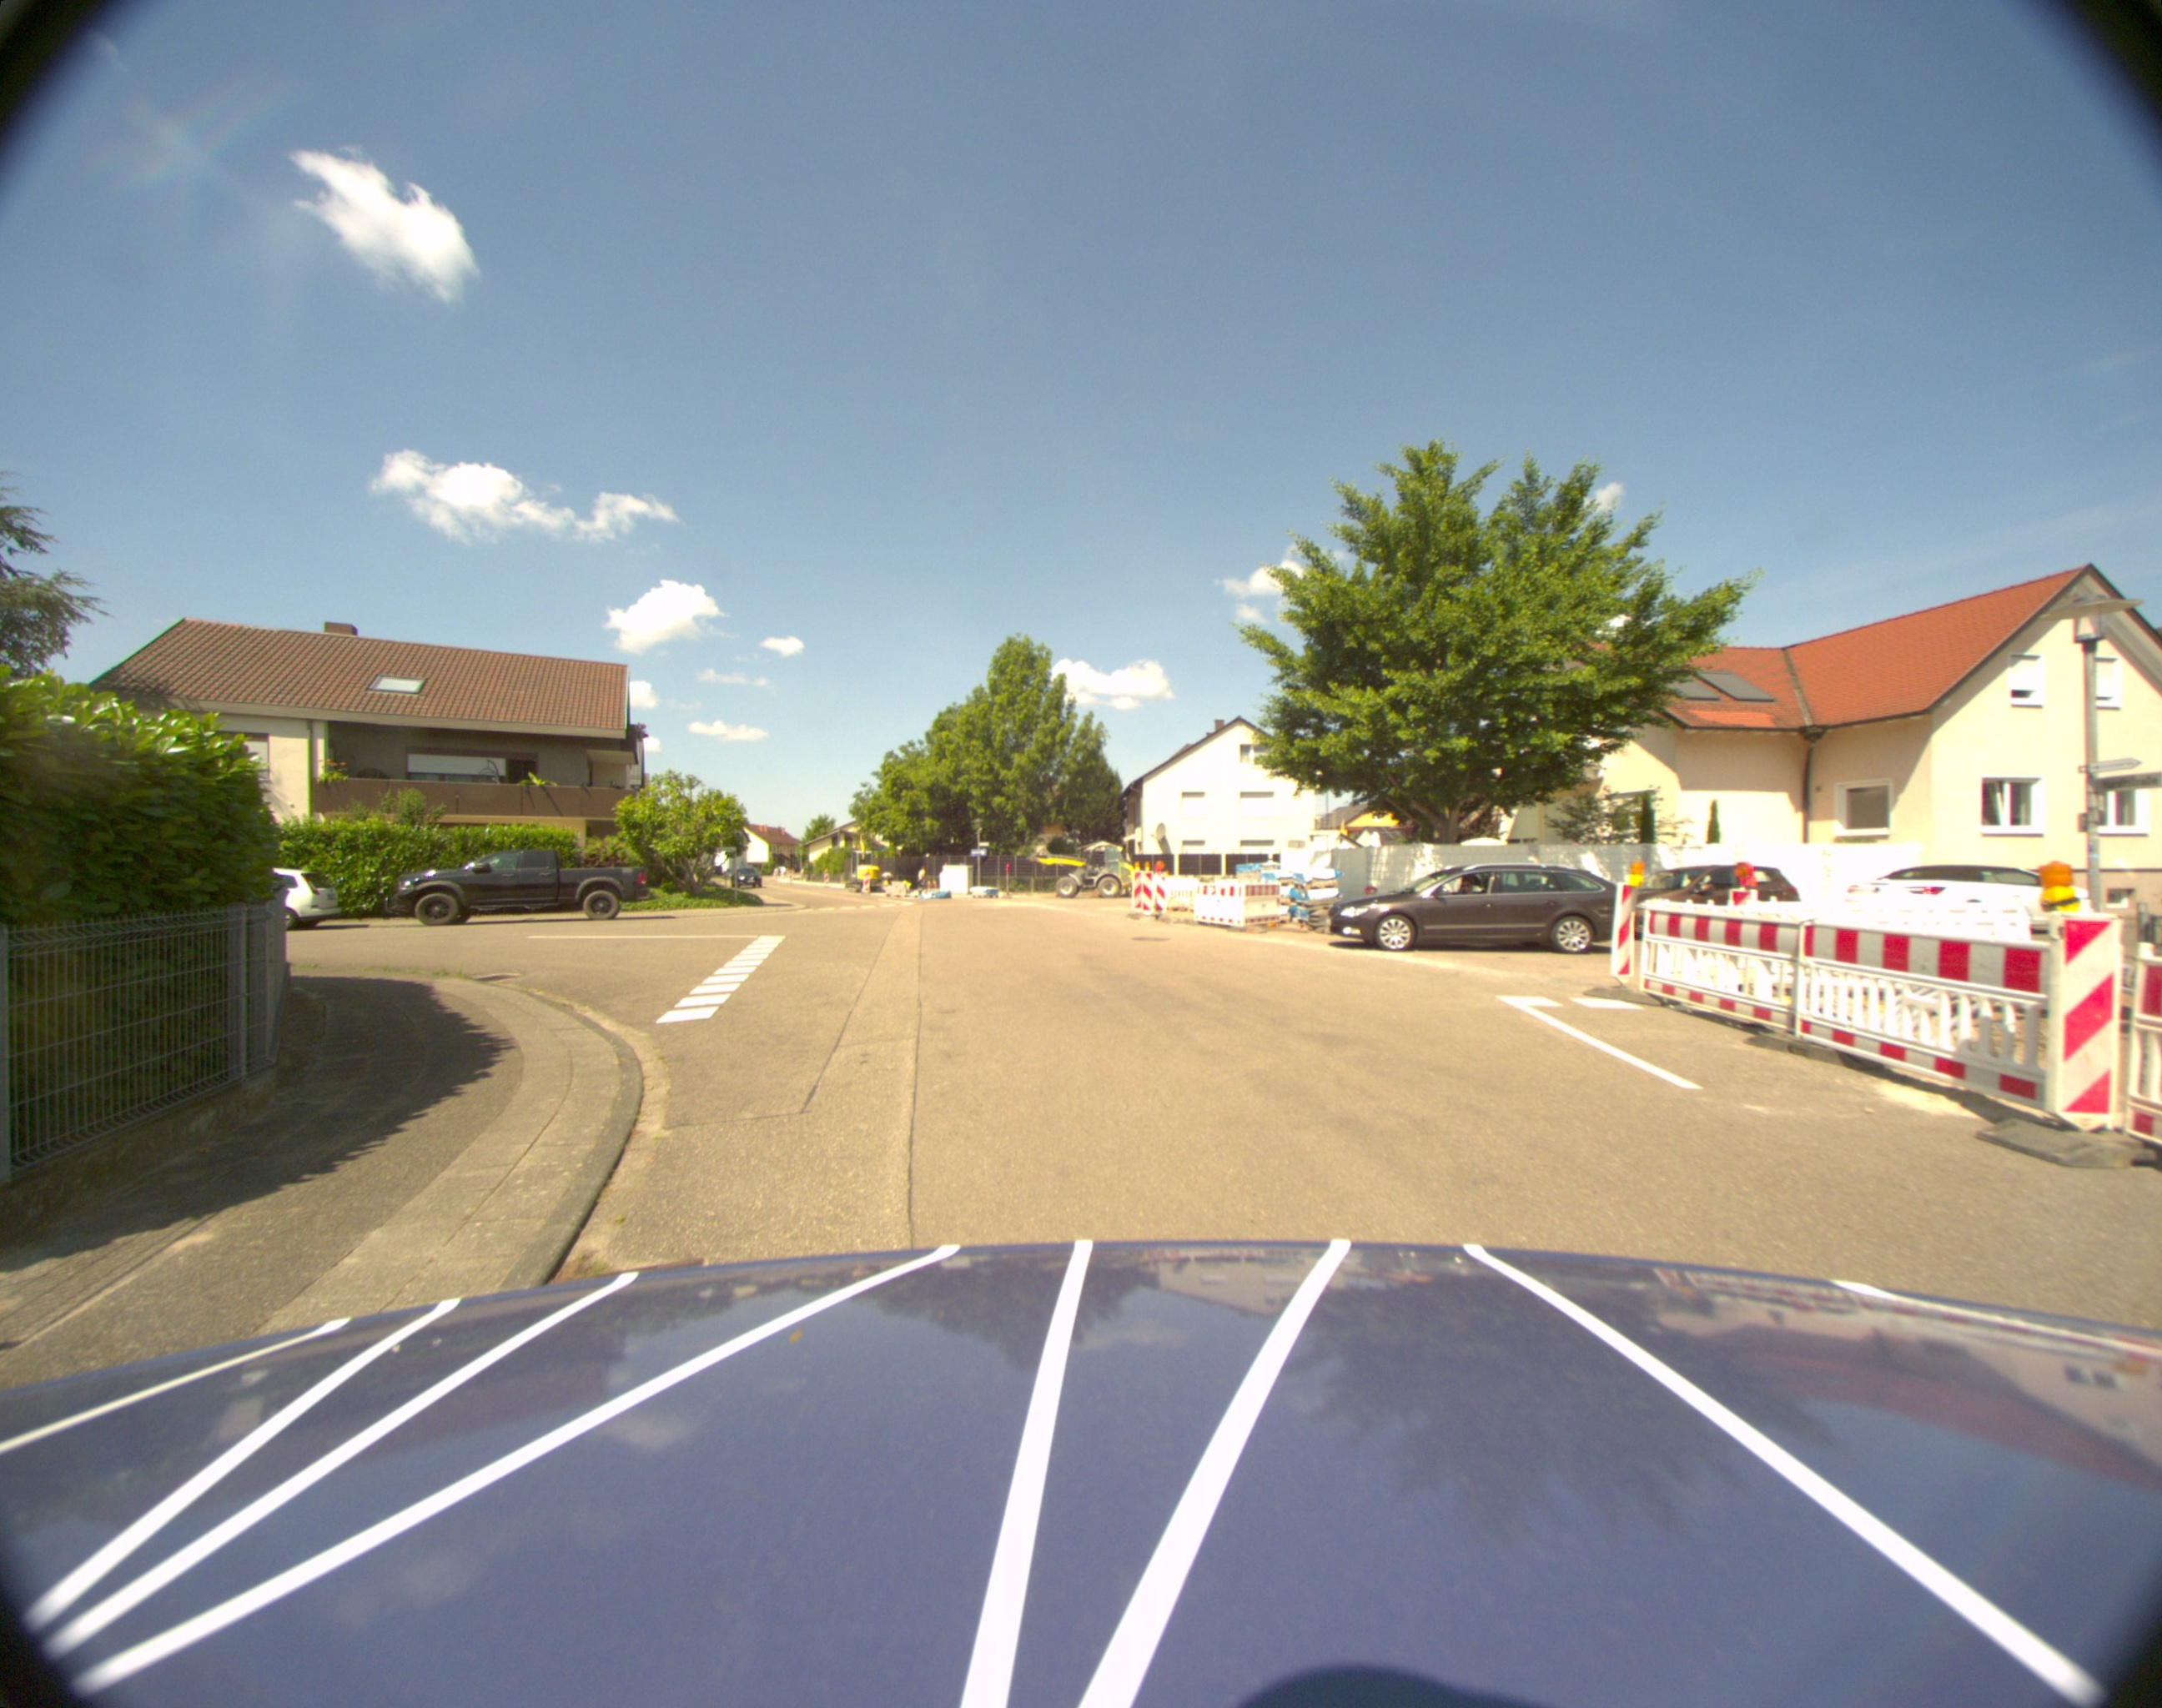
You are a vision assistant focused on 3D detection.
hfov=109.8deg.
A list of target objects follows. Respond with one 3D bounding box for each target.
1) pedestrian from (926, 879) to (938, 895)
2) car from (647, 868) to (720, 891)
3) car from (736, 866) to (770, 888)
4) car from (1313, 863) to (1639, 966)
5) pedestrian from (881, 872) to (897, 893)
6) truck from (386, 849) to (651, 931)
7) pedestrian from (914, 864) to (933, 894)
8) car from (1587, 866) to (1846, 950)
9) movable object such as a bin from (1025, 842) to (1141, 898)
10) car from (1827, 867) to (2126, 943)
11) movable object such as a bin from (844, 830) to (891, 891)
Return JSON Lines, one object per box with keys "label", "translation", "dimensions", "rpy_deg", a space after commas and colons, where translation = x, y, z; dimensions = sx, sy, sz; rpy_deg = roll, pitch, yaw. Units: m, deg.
{"label": "pedestrian", "translation": [-7.932, 1.746, 40.371], "dimensions": [0.431, 0.788, 0.523], "rpy_deg": [-1, 0, 10]}
{"label": "car", "translation": [-25.041, 1.605, 47.869], "dimensions": [4.006, 1.334, 1.995], "rpy_deg": [0, 0, -30]}
{"label": "car", "translation": [-25.371, 1.742, 58.682], "dimensions": [1.923, 1.533, 3.991], "rpy_deg": [0, 0, -30]}
{"label": "car", "translation": [6.636, 0.988, 13.268], "dimensions": [4.702, 1.526, 1.788], "rpy_deg": [1, -2, 9]}
{"label": "pedestrian", "translation": [-10.992, 1.647, 43.543], "dimensions": [0.510, 1.162, 0.826], "rpy_deg": [-1, 0, 20]}
{"label": "truck", "translation": [-15.500, 0.983, 21.465], "dimensions": [5.722, 2.000, 2.368], "rpy_deg": [0, -6, -31]}
{"label": "pedestrian", "translation": [-7.875, 1.248, 38.080], "dimensions": [0.851, 1.505, 0.531], "rpy_deg": [-1, 1, -17]}
{"label": "car", "translation": [12.816, 1.074, 15.439], "dimensions": [4.035, 1.522, 1.718], "rpy_deg": [-1, -3, -8]}
{"label": "movable object such as a bin", "translation": [0.147, 0.757, 35.495], "dimensions": [5.227, 2.437, 2.001], "rpy_deg": [-1, -2, 3]}
{"label": "car", "translation": [19.048, 1.026, 16.270], "dimensions": [4.737, 1.420, 1.900], "rpy_deg": [-1, 0, -8]}
{"label": "movable object such as a bin", "translation": [-13.043, 0.416, 46.302], "dimensions": [2.003, 3.544, 3.807], "rpy_deg": [-1, 0, -28]}
